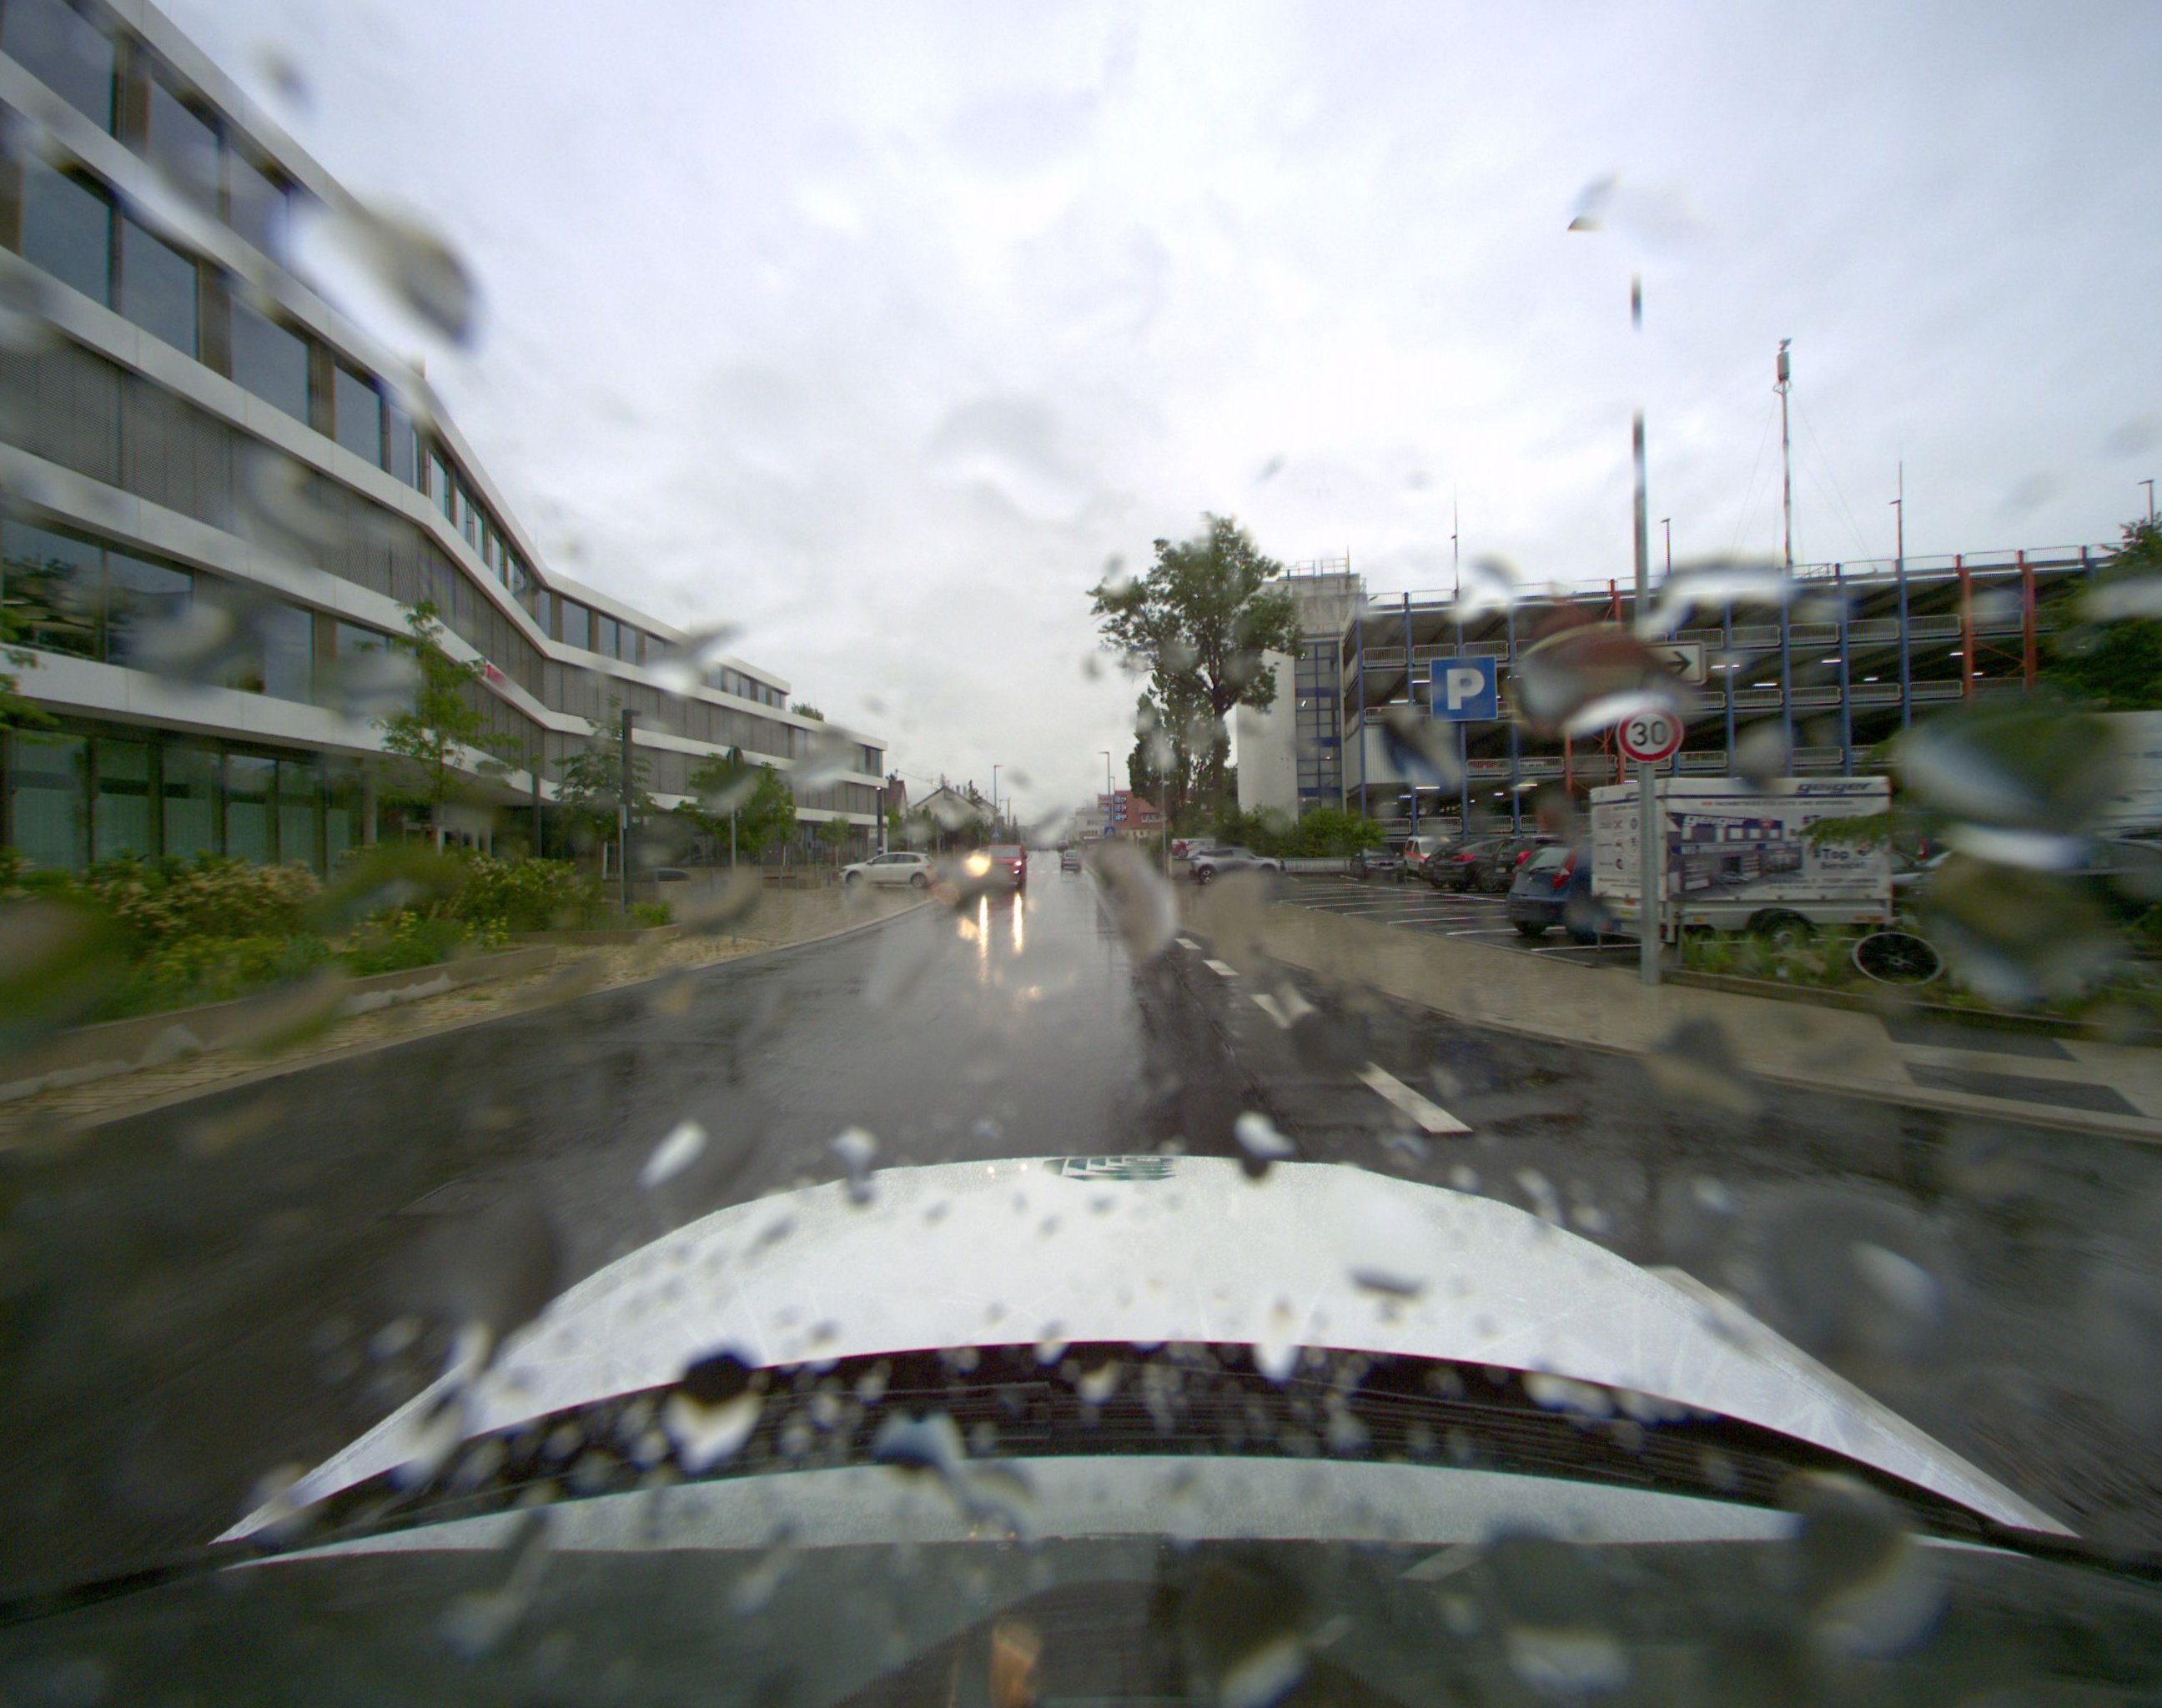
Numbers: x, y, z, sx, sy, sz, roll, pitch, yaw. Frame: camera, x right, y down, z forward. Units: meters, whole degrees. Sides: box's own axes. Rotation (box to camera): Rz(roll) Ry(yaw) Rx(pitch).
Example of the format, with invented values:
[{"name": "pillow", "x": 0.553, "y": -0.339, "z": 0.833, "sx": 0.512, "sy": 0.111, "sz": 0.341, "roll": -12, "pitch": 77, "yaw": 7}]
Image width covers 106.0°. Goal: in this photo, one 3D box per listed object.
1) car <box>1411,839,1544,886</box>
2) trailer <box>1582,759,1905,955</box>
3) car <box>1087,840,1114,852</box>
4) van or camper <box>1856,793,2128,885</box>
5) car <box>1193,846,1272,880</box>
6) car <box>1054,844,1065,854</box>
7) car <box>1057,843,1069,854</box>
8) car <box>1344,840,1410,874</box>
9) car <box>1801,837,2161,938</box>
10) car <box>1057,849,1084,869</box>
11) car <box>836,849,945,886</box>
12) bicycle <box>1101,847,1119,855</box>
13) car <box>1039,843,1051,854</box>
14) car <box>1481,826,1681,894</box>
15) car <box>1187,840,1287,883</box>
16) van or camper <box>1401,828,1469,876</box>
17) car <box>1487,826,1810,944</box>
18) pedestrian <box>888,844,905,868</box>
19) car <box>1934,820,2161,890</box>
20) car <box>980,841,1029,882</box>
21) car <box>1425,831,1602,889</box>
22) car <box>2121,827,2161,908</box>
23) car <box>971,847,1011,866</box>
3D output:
[{"name": "car", "x": 13.231, "y": 0.276, "z": 27.274, "sx": 3.676, "sy": 1.500, "sz": 1.641, "roll": -1, "pitch": 0, "yaw": -1}, {"name": "trailer", "x": 7.958, "y": 0.030, "z": 9.966, "sx": 2.693, "sy": 2.171, "sz": 1.548, "roll": -1, "pitch": 0, "yaw": 0}, {"name": "car", "x": 3.049, "y": -1.265, "z": 127.906, "sx": 4.105, "sy": 1.706, "sz": 1.785, "roll": 3, "pitch": -2, "yaw": -5}, {"name": "van or camper", "x": 25.764, "y": -0.410, "z": 23.236, "sx": 4.929, "sy": 2.326, "sz": 2.226, "roll": -2, "pitch": 0, "yaw": 6}, {"name": "car", "x": 7.196, "y": 0.414, "z": 38.957, "sx": 3.601, "sy": 1.494, "sz": 1.810, "roll": -2, "pitch": 0, "yaw": 7}, {"name": "car", "x": -4.077, "y": -1.039, "z": 156.588, "sx": 1.988, "sy": 1.706, "sz": 3.997, "roll": 3, "pitch": -1, "yaw": -1}, {"name": "car", "x": -3.197, "y": -0.932, "z": 143.490, "sx": 1.988, "sy": 1.706, "sz": 3.997, "roll": 3, "pitch": -1, "yaw": -1}, {"name": "car", "x": 13.319, "y": 0.113, "z": 36.853, "sx": 1.922, "sy": 1.442, "sz": 4.215, "roll": -1, "pitch": 0, "yaw": 7}, {"name": "car", "x": 13.193, "y": 0.455, "z": 12.076, "sx": 3.719, "sy": 1.315, "sz": 1.690, "roll": -1, "pitch": 0, "yaw": -5}, {"name": "car", "x": -0.893, "y": 0.449, "z": 68.031, "sx": 1.944, "sy": 1.556, "sz": 3.994, "roll": 3, "pitch": -1, "yaw": -4}, {"name": "car", "x": -7.633, "y": 0.520, "z": 32.866, "sx": 3.916, "sy": 1.423, "sz": 1.897, "roll": -1, "pitch": 0, "yaw": -1}, {"name": "bicycle", "x": 4.299, "y": -0.427, "z": 121.330, "sx": 0.673, "sy": 1.067, "sz": 3.592, "roll": 4, "pitch": -2, "yaw": -33}, {"name": "car", "x": -6.623, "y": -0.953, "z": 149.634, "sx": 2.148, "sy": 1.706, "sz": 3.997, "roll": 3, "pitch": -1, "yaw": -1}, {"name": "car", "x": 13.428, "y": 0.155, "z": 22.034, "sx": 4.342, "sy": 1.658, "sz": 1.785, "roll": -1, "pitch": 0, "yaw": -1}, {"name": "car", "x": 6.896, "y": 0.328, "z": 36.299, "sx": 4.183, "sy": 1.649, "sz": 2.005, "roll": -3, "pitch": 0, "yaw": 8}, {"name": "van or camper", "x": 15.861, "y": -0.089, "z": 36.747, "sx": 1.826, "sy": 2.036, "sz": 4.474, "roll": -1, "pitch": 0, "yaw": 10}, {"name": "car", "x": 8.392, "y": 0.444, "z": 12.259, "sx": 3.716, "sy": 1.529, "sz": 1.649, "roll": -2, "pitch": -1, "yaw": -2}, {"name": "pedestrian", "x": -12.864, "y": 0.133, "z": 56.833, "sx": 1.011, "sy": 1.724, "sz": 0.771, "roll": 0, "pitch": 0, "yaw": -4}, {"name": "car", "x": 25.139, "y": 0.013, "z": 20.843, "sx": 4.331, "sy": 1.583, "sz": 1.869, "roll": -2, "pitch": 0, "yaw": 7}, {"name": "car", "x": -3.530, "y": 0.319, "z": 38.367, "sx": 1.998, "sy": 1.818, "sz": 4.975, "roll": -1, "pitch": 0, "yaw": -2}, {"name": "car", "x": 12.839, "y": 0.171, "z": 24.312, "sx": 4.345, "sy": 1.559, "sz": 1.838, "roll": -1, "pitch": 0, "yaw": -3}, {"name": "car", "x": 24.162, "y": 0.216, "z": 16.220, "sx": 4.104, "sy": 1.667, "sz": 1.869, "roll": -2, "pitch": 0, "yaw": 7}, {"name": "car", "x": -11.116, "y": 0.348, "z": 100.375, "sx": 4.748, "sy": 2.014, "sz": 1.995, "roll": 3, "pitch": -2, "yaw": -7}]
